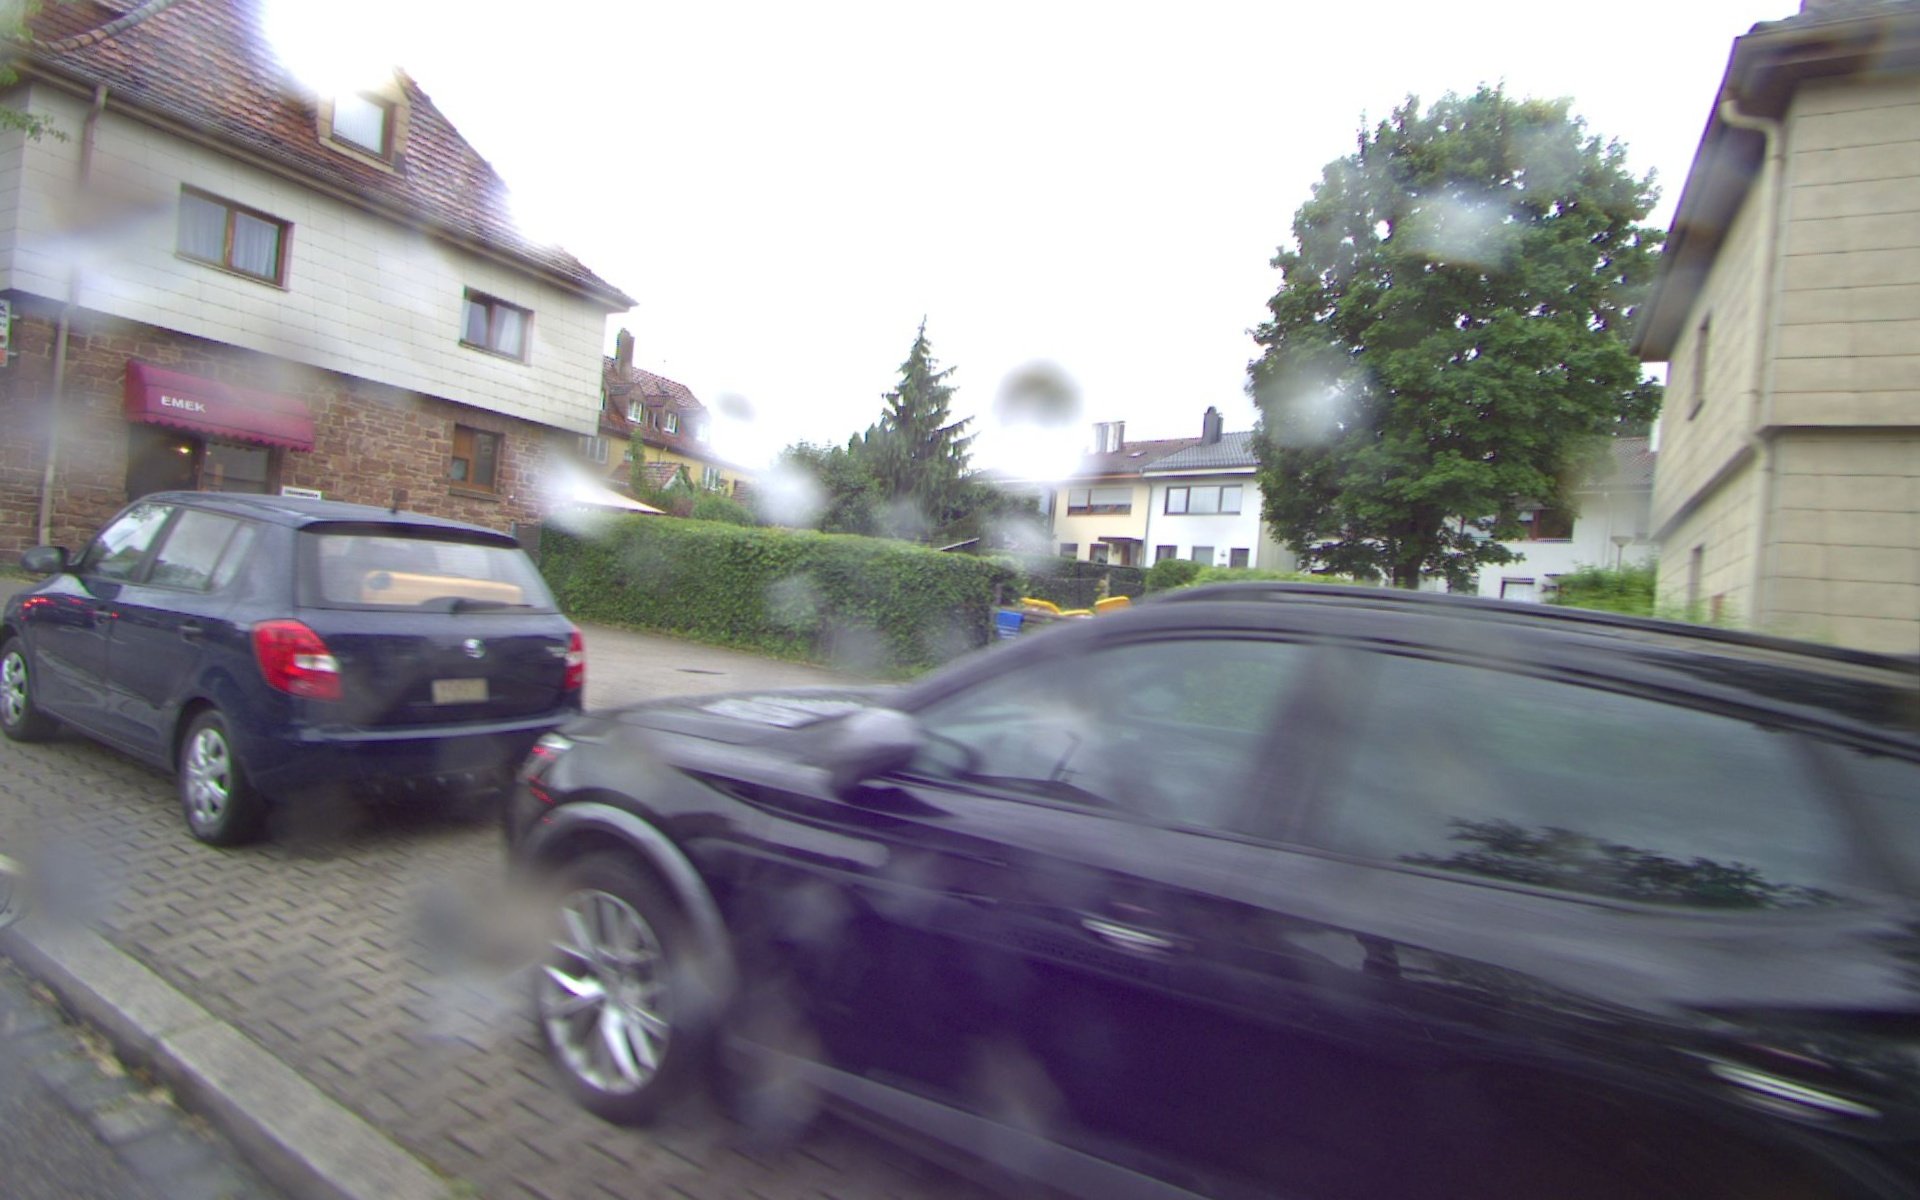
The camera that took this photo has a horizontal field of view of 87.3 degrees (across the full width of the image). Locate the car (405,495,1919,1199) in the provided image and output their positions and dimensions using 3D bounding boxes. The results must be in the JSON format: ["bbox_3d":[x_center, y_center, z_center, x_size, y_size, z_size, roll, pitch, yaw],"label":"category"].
[{"bbox_3d":[0.654,0.695,2.550,4.113,1.519,1.714,7,3,31],"label":"car"}]

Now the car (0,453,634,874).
[{"bbox_3d":[-3.709,0.098,5.434,3.793,1.492,1.603,7,4,33],"label":"car"}]
